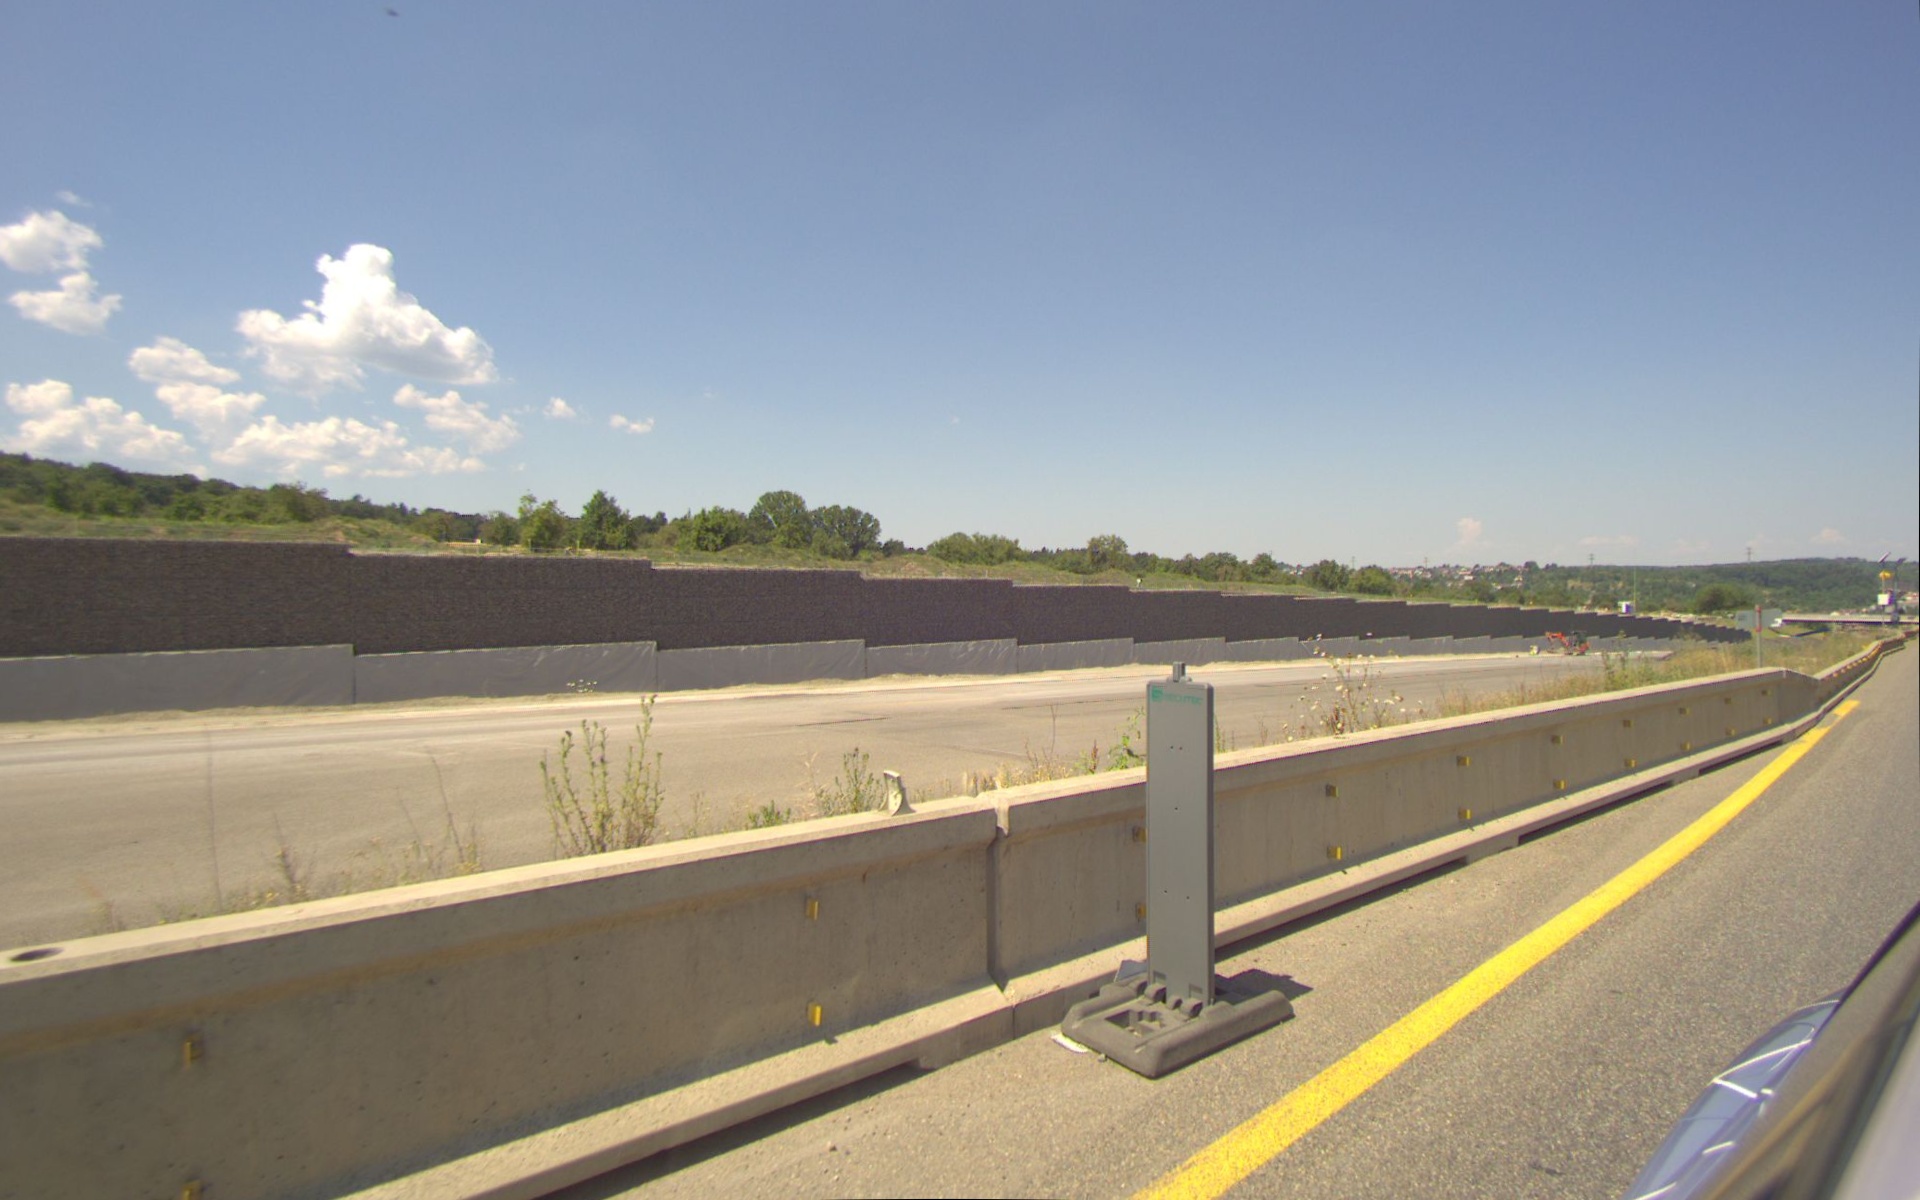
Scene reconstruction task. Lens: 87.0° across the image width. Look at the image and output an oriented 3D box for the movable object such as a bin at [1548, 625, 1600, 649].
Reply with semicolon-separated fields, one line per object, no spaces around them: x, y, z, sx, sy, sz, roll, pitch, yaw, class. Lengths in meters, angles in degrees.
60.679;3.648;100.068;4.079;2.175;1.752;0;0;19;movable object such as a bin
